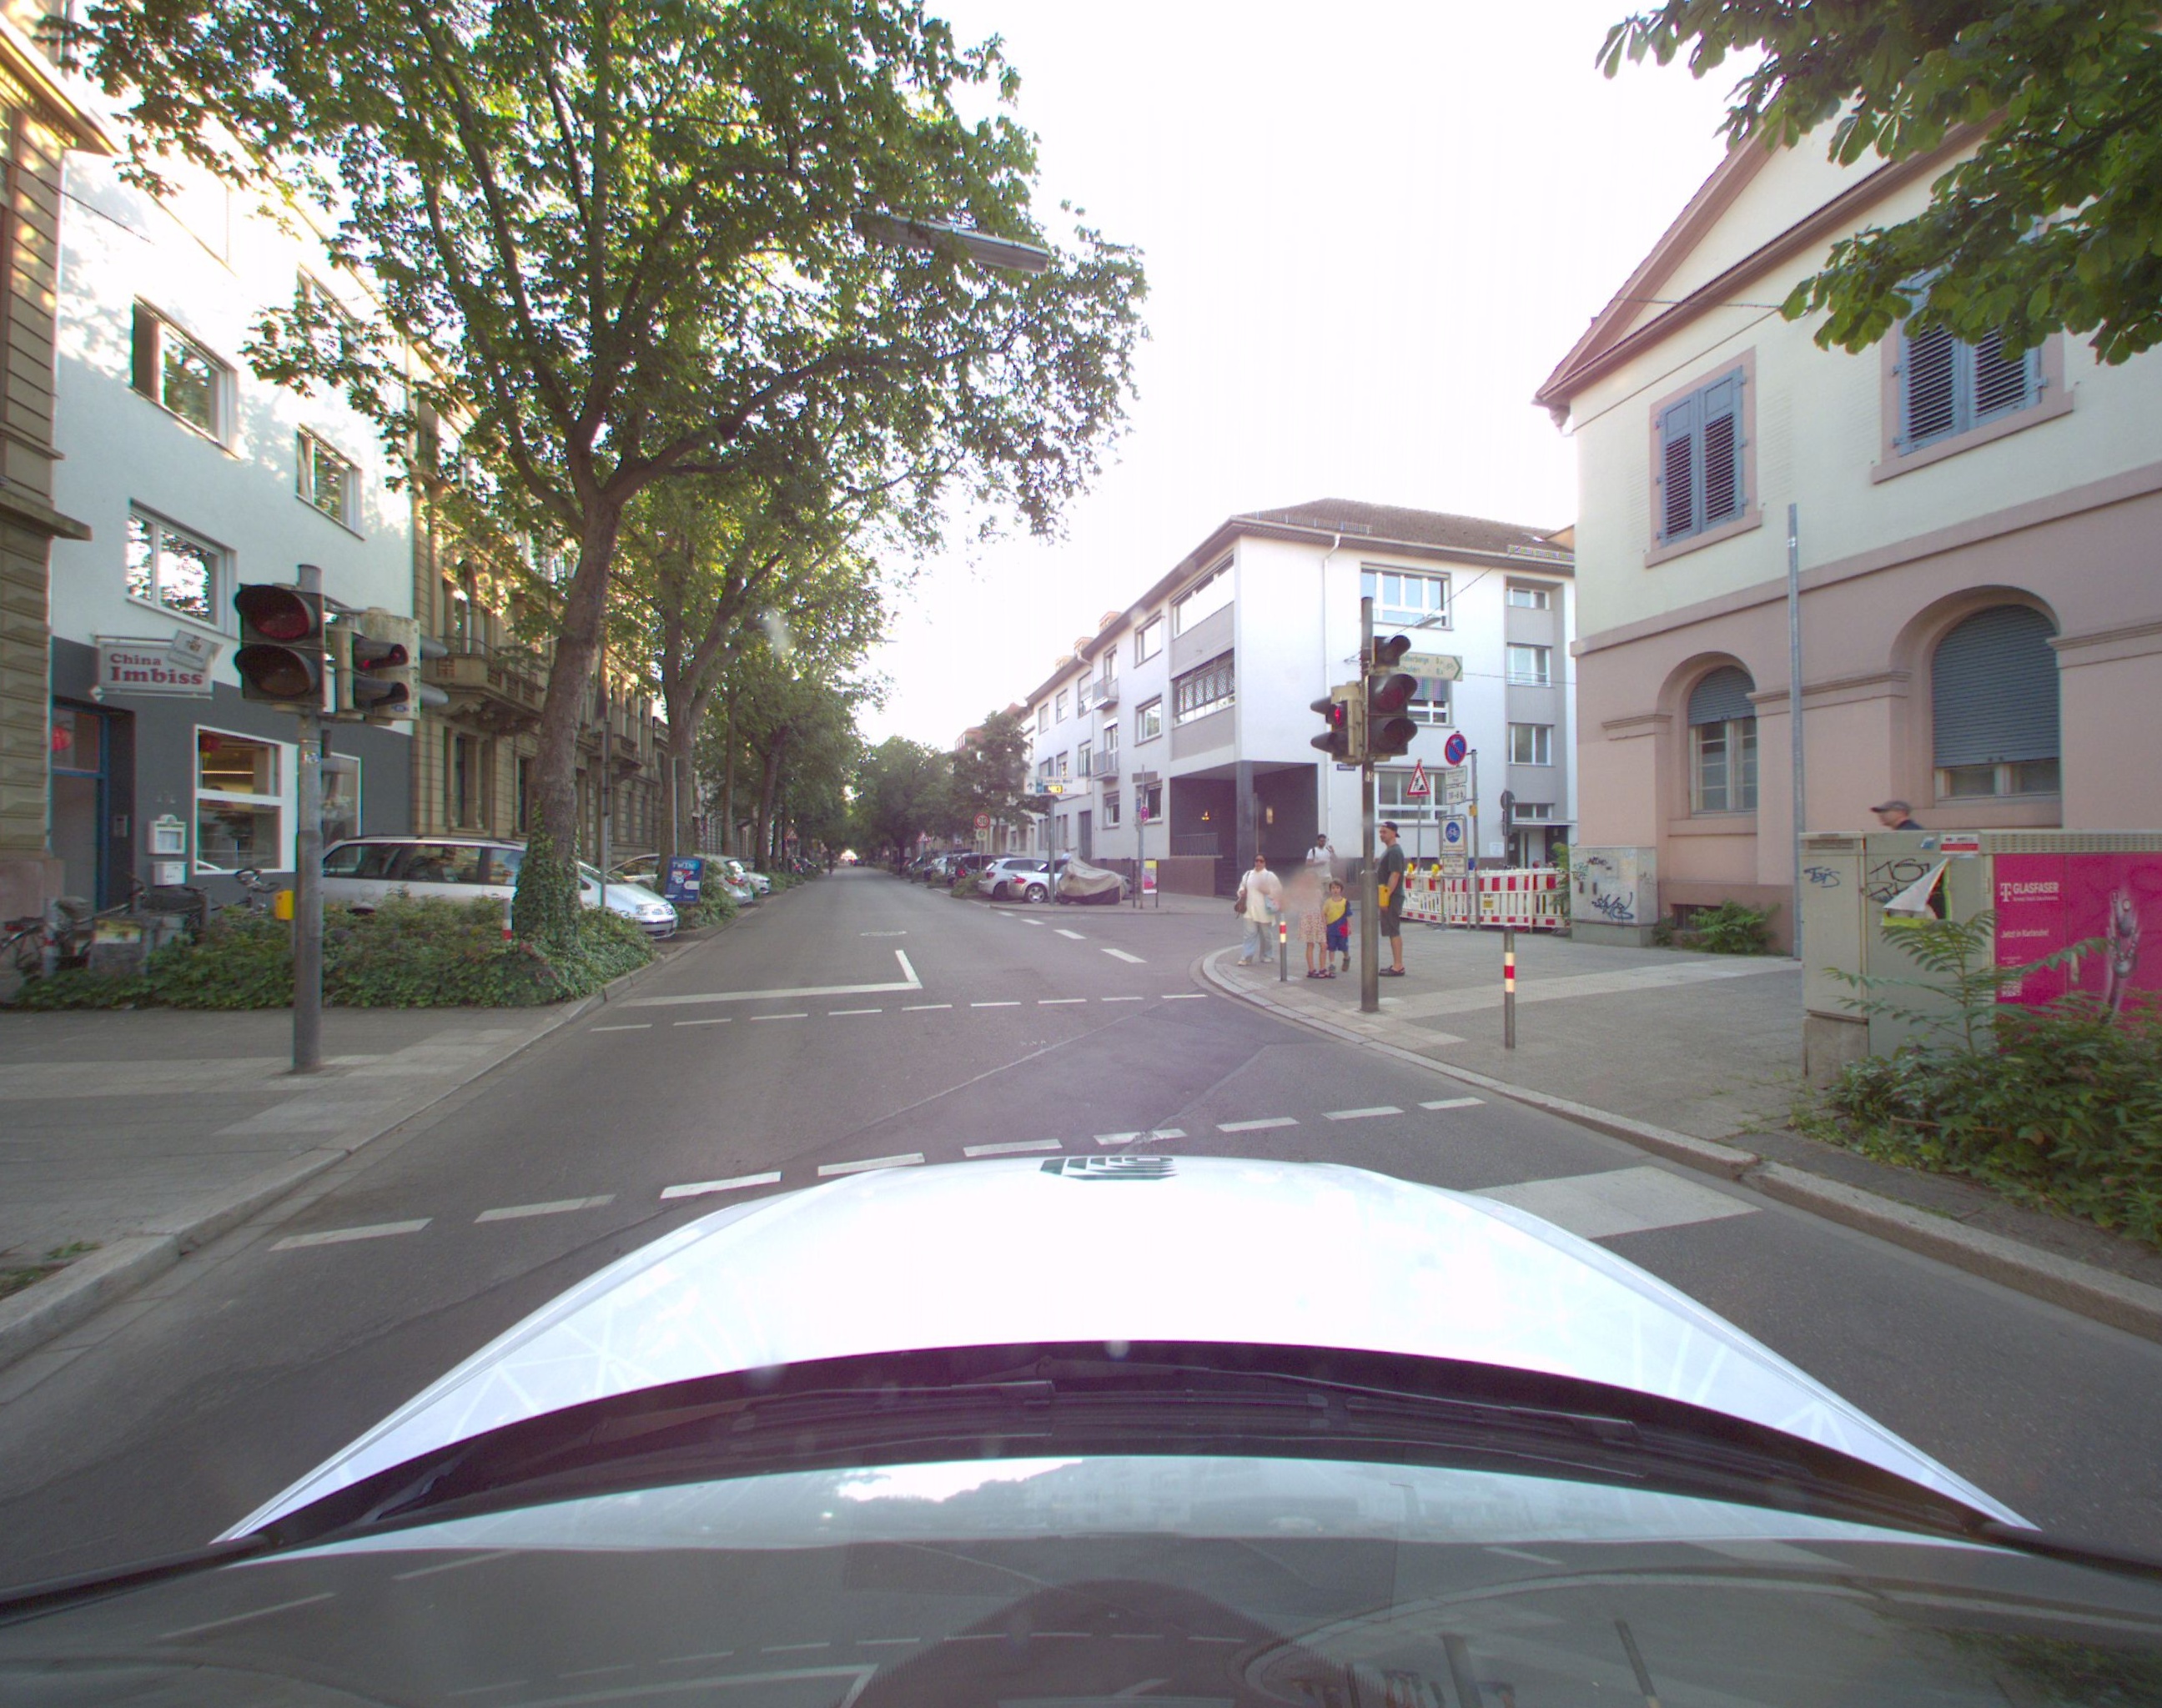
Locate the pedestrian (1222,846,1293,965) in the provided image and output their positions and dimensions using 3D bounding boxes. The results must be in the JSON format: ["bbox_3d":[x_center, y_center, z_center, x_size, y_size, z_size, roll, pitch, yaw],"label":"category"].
[{"bbox_3d":[2.351,0.660,10.793,0.767,1.501,0.806,-2,-1,21],"label":"pedestrian"}]

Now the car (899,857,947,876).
[{"bbox_3d":[-13.852,1.082,71.370,4.023,1.602,1.697,0,0,-17],"label":"car"}]

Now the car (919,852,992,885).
[{"bbox_3d":[-7.304,0.814,47.242,4.023,1.815,1.697,-1,0,-17],"label":"car"}]

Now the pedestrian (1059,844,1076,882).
[{"bbox_3d":[-0.631,0.424,38.296,0.704,1.752,0.696,0,0,-12],"label":"pedestrian"}]

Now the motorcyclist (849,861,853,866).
[{"bbox_3d":[-56.879,2.301,201.604,0.820,1.236,0.845,1,-1,-16],"label":"motorcyclist"}]

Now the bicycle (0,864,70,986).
[{"bbox_3d":[-10.856,0.707,7.429,0.637,1.202,2.551,-1,0,-14],"label":"bicycle"}]

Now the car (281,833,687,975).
[{"bbox_3d":[-8.589,0.640,12.263,4.562,1.835,1.821,-1,0,-19],"label":"car"}]

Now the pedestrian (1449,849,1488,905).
[{"bbox_3d":[10.432,0.611,21.951,0.739,1.467,0.559,-1,-1,-16],"label":"pedestrian"}]

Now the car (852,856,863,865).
[{"bbox_3d":[-41.506,1.212,150.965,1.829,1.561,4.004,1,-1,-17],"label":"car"}]

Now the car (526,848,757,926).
[{"bbox_3d":[-10.330,0.737,19.548,4.557,1.689,1.823,-1,0,-16],"label":"car"}]

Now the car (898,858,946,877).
[{"bbox_3d":[-13.514,1.169,69.430,3.979,1.578,1.903,1,-1,-11],"label":"car"}]

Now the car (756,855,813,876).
[{"bbox_3d":[-25.906,0.982,71.301,4.557,1.802,1.823,0,0,-16],"label":"car"}]

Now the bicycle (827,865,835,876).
[{"bbox_3d":[-22.165,1.449,72.249,0.573,0.949,1.731,1,-1,-22],"label":"bicycle"}]

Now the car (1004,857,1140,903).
[{"bbox_3d":[-0.301,0.788,25.849,4.022,1.342,1.698,-1,0,-16],"label":"car"}]

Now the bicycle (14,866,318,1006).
[{"bbox_3d":[-9.228,0.740,8.439,0.735,1.186,2.621,1,-1,-15],"label":"bicycle"}]

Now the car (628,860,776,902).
[{"bbox_3d":[-13.498,0.918,29.281,4.557,1.372,1.823,-1,0,-16],"label":"car"}]

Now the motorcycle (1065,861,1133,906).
[{"bbox_3d":[0.495,0.806,22.789,1.798,1.199,0.611,-1,0,-7],"label":"motorcycle"}]

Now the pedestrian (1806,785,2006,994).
[{"bbox_3d":[7.908,0.302,7.850,0.800,1.838,1.076,-3,1,-18],"label":"pedestrian"}]

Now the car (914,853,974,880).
[{"bbox_3d":[-9.613,0.870,57.076,4.023,1.830,1.697,0,-1,-17],"label":"car"}]

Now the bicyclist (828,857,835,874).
[{"bbox_3d":[-22.167,1.002,72.313,0.573,1.470,0.638,1,-1,-22],"label":"bicyclist"}]

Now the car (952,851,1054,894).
[{"bbox_3d":[-3.295,0.752,34.347,4.023,1.690,1.697,-1,0,-17],"label":"car"}]

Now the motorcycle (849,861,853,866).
[{"bbox_3d":[-56.890,2.301,201.635,0.820,1.236,2.014,1,-1,-16],"label":"motorcycle"}]

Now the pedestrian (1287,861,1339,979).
[{"bbox_3d":[2.715,0.753,9.567,0.502,1.336,0.542,0,0,7],"label":"pedestrian"}]

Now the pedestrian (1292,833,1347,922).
[{"bbox_3d":[5.074,0.485,17.368,0.768,1.841,0.938,0,0,-15],"label":"pedestrian"}]

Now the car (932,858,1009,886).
[{"bbox_3d":[-6.157,0.967,45.191,4.023,1.409,1.697,-1,0,-17],"label":"car"}]

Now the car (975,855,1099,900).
[{"bbox_3d":[-1.551,0.778,28.220,4.023,1.442,1.697,-1,0,-17],"label":"car"}]

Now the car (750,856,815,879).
[{"bbox_3d":[-23.026,1.025,62.880,4.557,1.691,1.823,0,0,-16],"label":"car"}]

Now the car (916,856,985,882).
[{"bbox_3d":[-8.024,0.904,49.991,4.023,1.530,1.697,0,0,-17],"label":"car"}]

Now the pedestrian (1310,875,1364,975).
[{"bbox_3d":[3.101,0.838,9.904,0.561,1.121,0.840,-1,1,14],"label":"pedestrian"}]

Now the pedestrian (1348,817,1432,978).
[{"bbox_3d":[3.648,0.478,9.677,0.881,1.815,0.798,-1,2,18],"label":"pedestrian"}]

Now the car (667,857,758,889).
[{"bbox_3d":[-19.110,0.956,42.429,4.047,1.590,1.823,-1,0,-16],"label":"car"}]

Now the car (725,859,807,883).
[{"bbox_3d":[-19.584,1.057,50.830,4.557,1.410,1.823,-1,0,-16],"label":"car"}]
